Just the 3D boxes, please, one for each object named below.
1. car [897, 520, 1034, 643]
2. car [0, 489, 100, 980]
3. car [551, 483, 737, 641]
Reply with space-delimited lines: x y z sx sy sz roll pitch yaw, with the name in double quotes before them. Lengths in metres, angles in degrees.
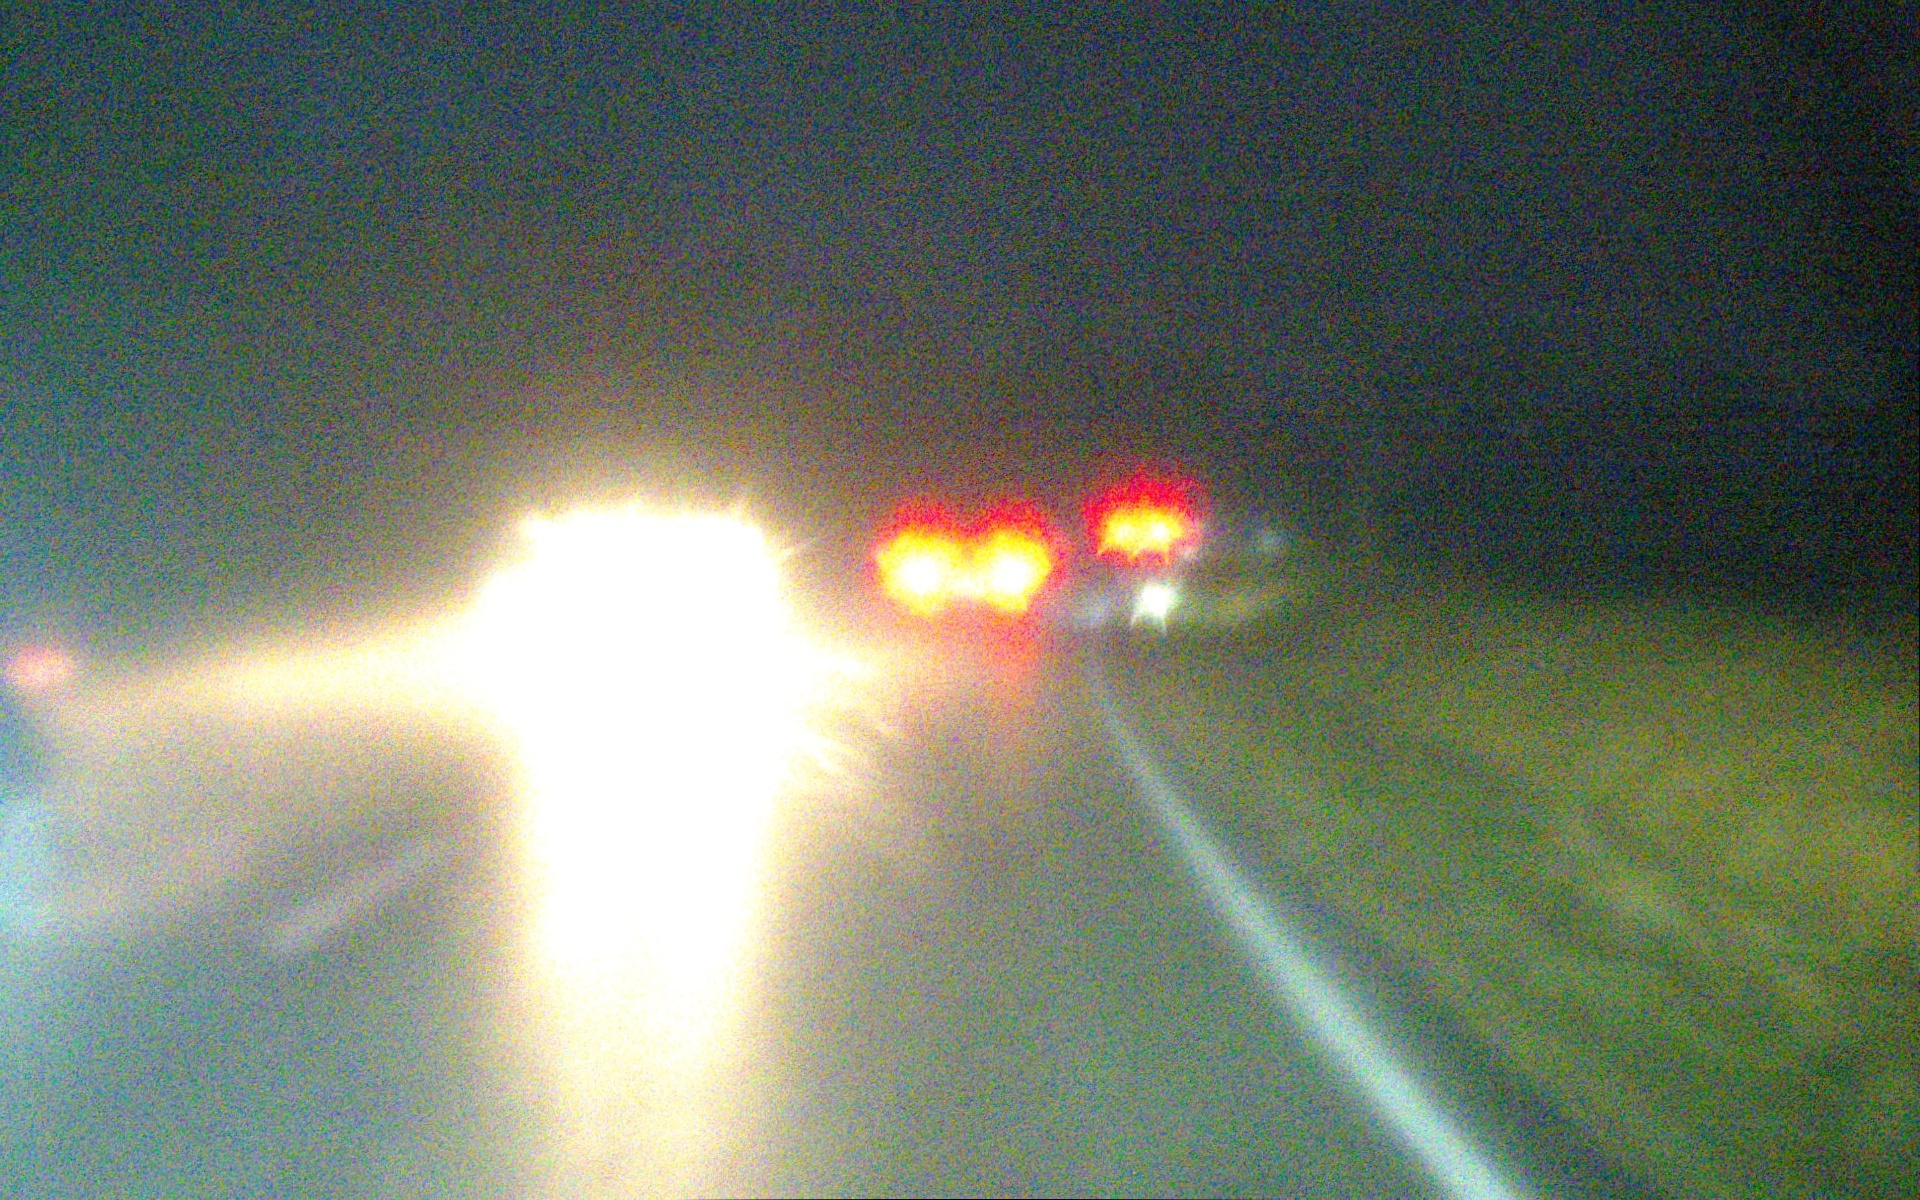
"car" 0.123 -0.309 51.679 1.842 1.734 4.000 -1 2 3
"car" -4.158 0.449 10.633 1.993 1.618 4.000 0 1 0
"car" -4.282 -0.547 47.205 1.993 2.007 4.275 -2 1 2
